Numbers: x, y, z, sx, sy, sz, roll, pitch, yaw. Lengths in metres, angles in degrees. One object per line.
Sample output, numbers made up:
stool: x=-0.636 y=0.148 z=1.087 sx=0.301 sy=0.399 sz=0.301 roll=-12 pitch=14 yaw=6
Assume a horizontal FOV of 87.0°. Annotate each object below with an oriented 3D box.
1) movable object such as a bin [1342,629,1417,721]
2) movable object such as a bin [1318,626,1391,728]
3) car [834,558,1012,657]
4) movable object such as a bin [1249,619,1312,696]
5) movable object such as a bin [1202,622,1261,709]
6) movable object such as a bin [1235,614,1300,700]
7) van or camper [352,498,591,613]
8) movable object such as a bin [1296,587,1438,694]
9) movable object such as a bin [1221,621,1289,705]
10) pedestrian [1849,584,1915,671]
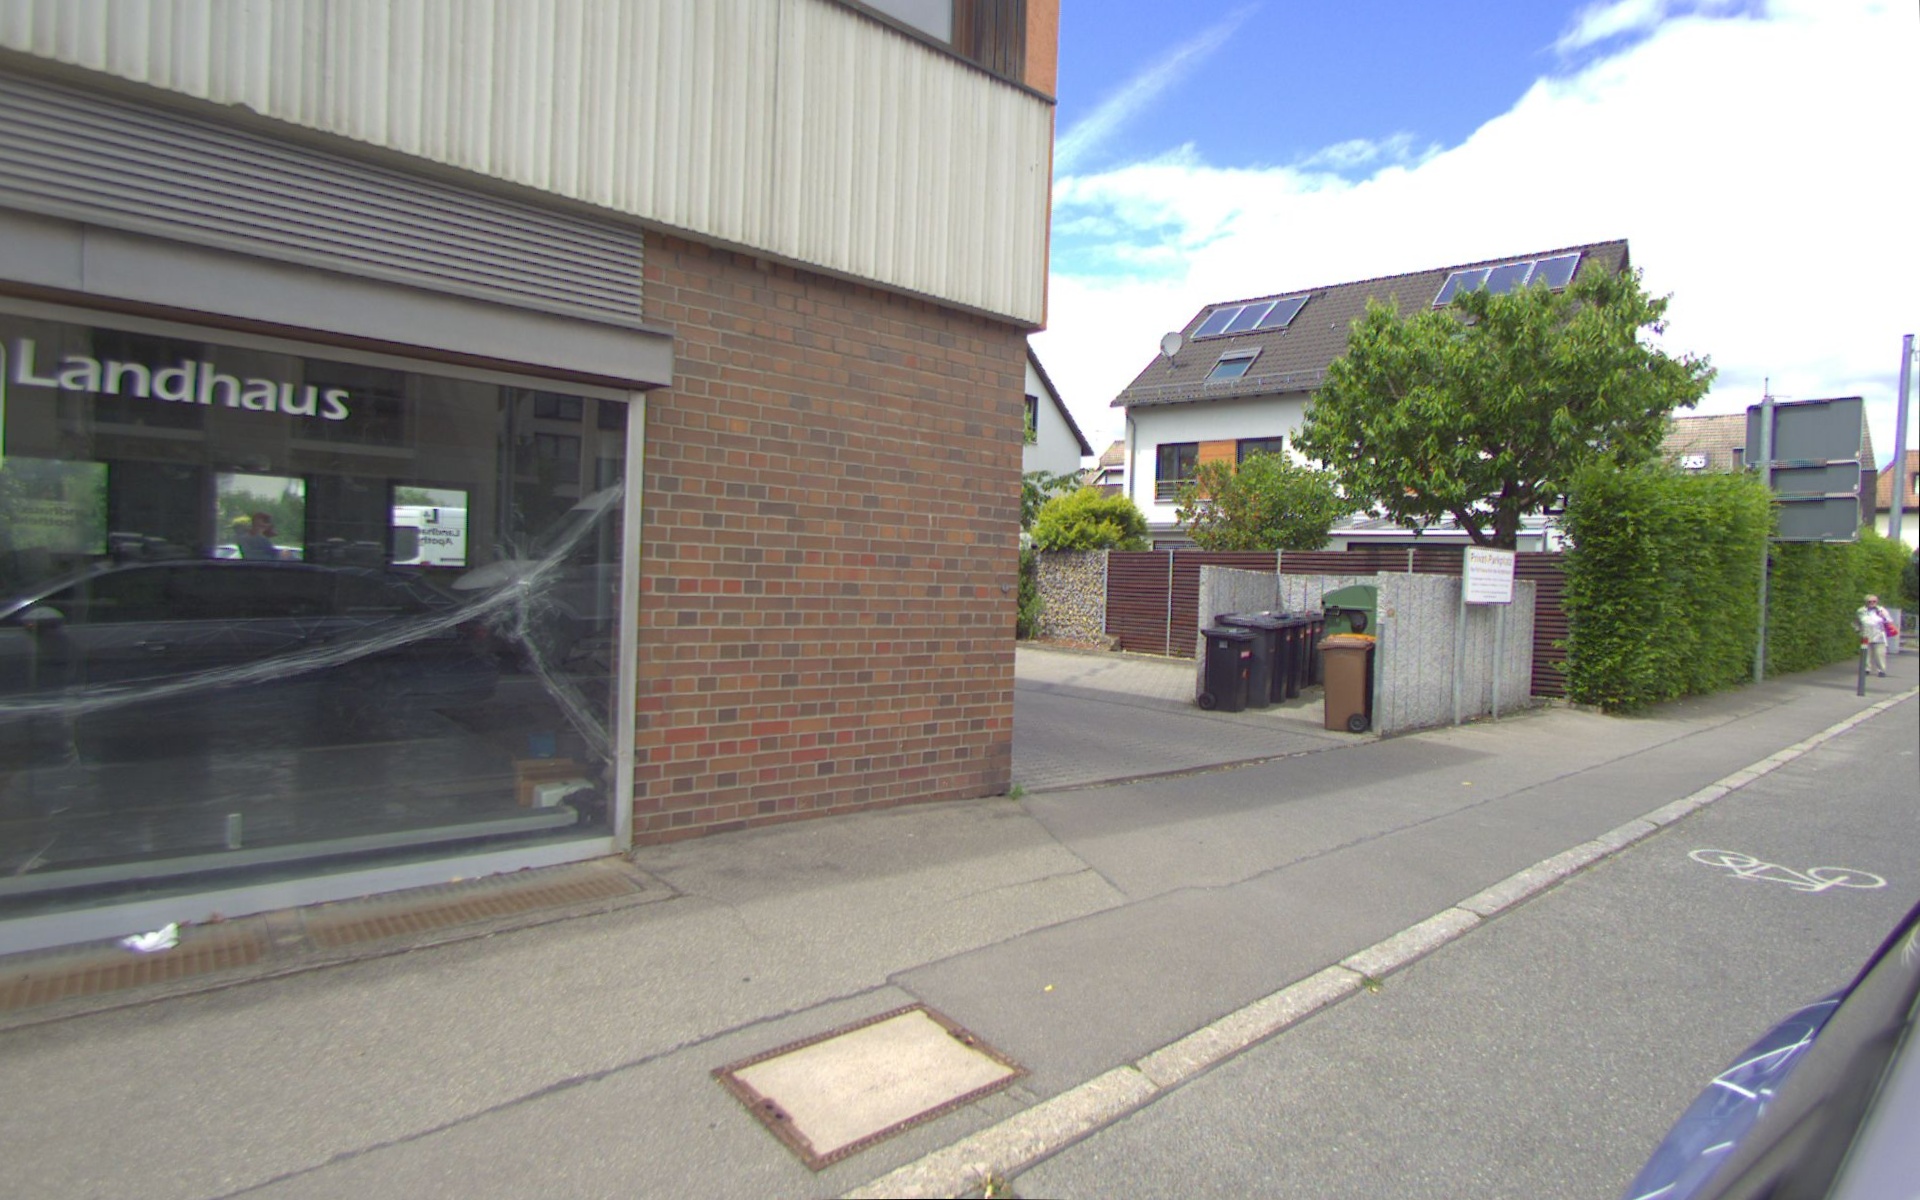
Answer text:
movable object such as a bin: x=4.497 y=0.785 z=10.854 sx=0.532 sy=0.903 sz=0.668 roll=2 pitch=1 yaw=43
movable object such as a bin: x=4.009 y=0.760 z=10.276 sx=0.530 sy=0.963 sz=0.678 roll=1 pitch=1 yaw=36
car: x=-0.546 y=0.076 z=18.345 sx=1.768 sy=1.555 sz=3.767 roll=2 pitch=2 yaw=23
movable object such as a bin: x=4.035 y=0.709 z=12.727 sx=0.630 sy=0.903 sz=0.534 roll=1 pitch=1 yaw=33
movable object such as a bin: x=3.063 y=0.721 z=11.397 sx=0.490 sy=0.924 sz=0.534 roll=1 pitch=1 yaw=33
movable object such as a bin: x=3.734 y=0.676 z=12.273 sx=0.624 sy=0.979 sz=0.534 roll=1 pitch=1 yaw=33
van or camper: x=-12.046 y=-1.070 z=25.470 sx=2.034 sy=2.574 sz=5.474 roll=2 pitch=1 yaw=21
movable object such as a bin: x=5.310 y=0.485 z=13.190 sx=1.509 sy=1.278 sz=1.190 roll=0 pitch=1 yaw=-43
movable object such as a bin: x=3.440 y=0.718 z=11.810 sx=0.630 sy=0.903 sz=0.534 roll=1 pitch=1 yaw=33
pedestrian: x=18.086 y=0.518 z=19.853 sx=0.641 sy=1.637 sz=0.801 roll=1 pitch=3 yaw=-39
